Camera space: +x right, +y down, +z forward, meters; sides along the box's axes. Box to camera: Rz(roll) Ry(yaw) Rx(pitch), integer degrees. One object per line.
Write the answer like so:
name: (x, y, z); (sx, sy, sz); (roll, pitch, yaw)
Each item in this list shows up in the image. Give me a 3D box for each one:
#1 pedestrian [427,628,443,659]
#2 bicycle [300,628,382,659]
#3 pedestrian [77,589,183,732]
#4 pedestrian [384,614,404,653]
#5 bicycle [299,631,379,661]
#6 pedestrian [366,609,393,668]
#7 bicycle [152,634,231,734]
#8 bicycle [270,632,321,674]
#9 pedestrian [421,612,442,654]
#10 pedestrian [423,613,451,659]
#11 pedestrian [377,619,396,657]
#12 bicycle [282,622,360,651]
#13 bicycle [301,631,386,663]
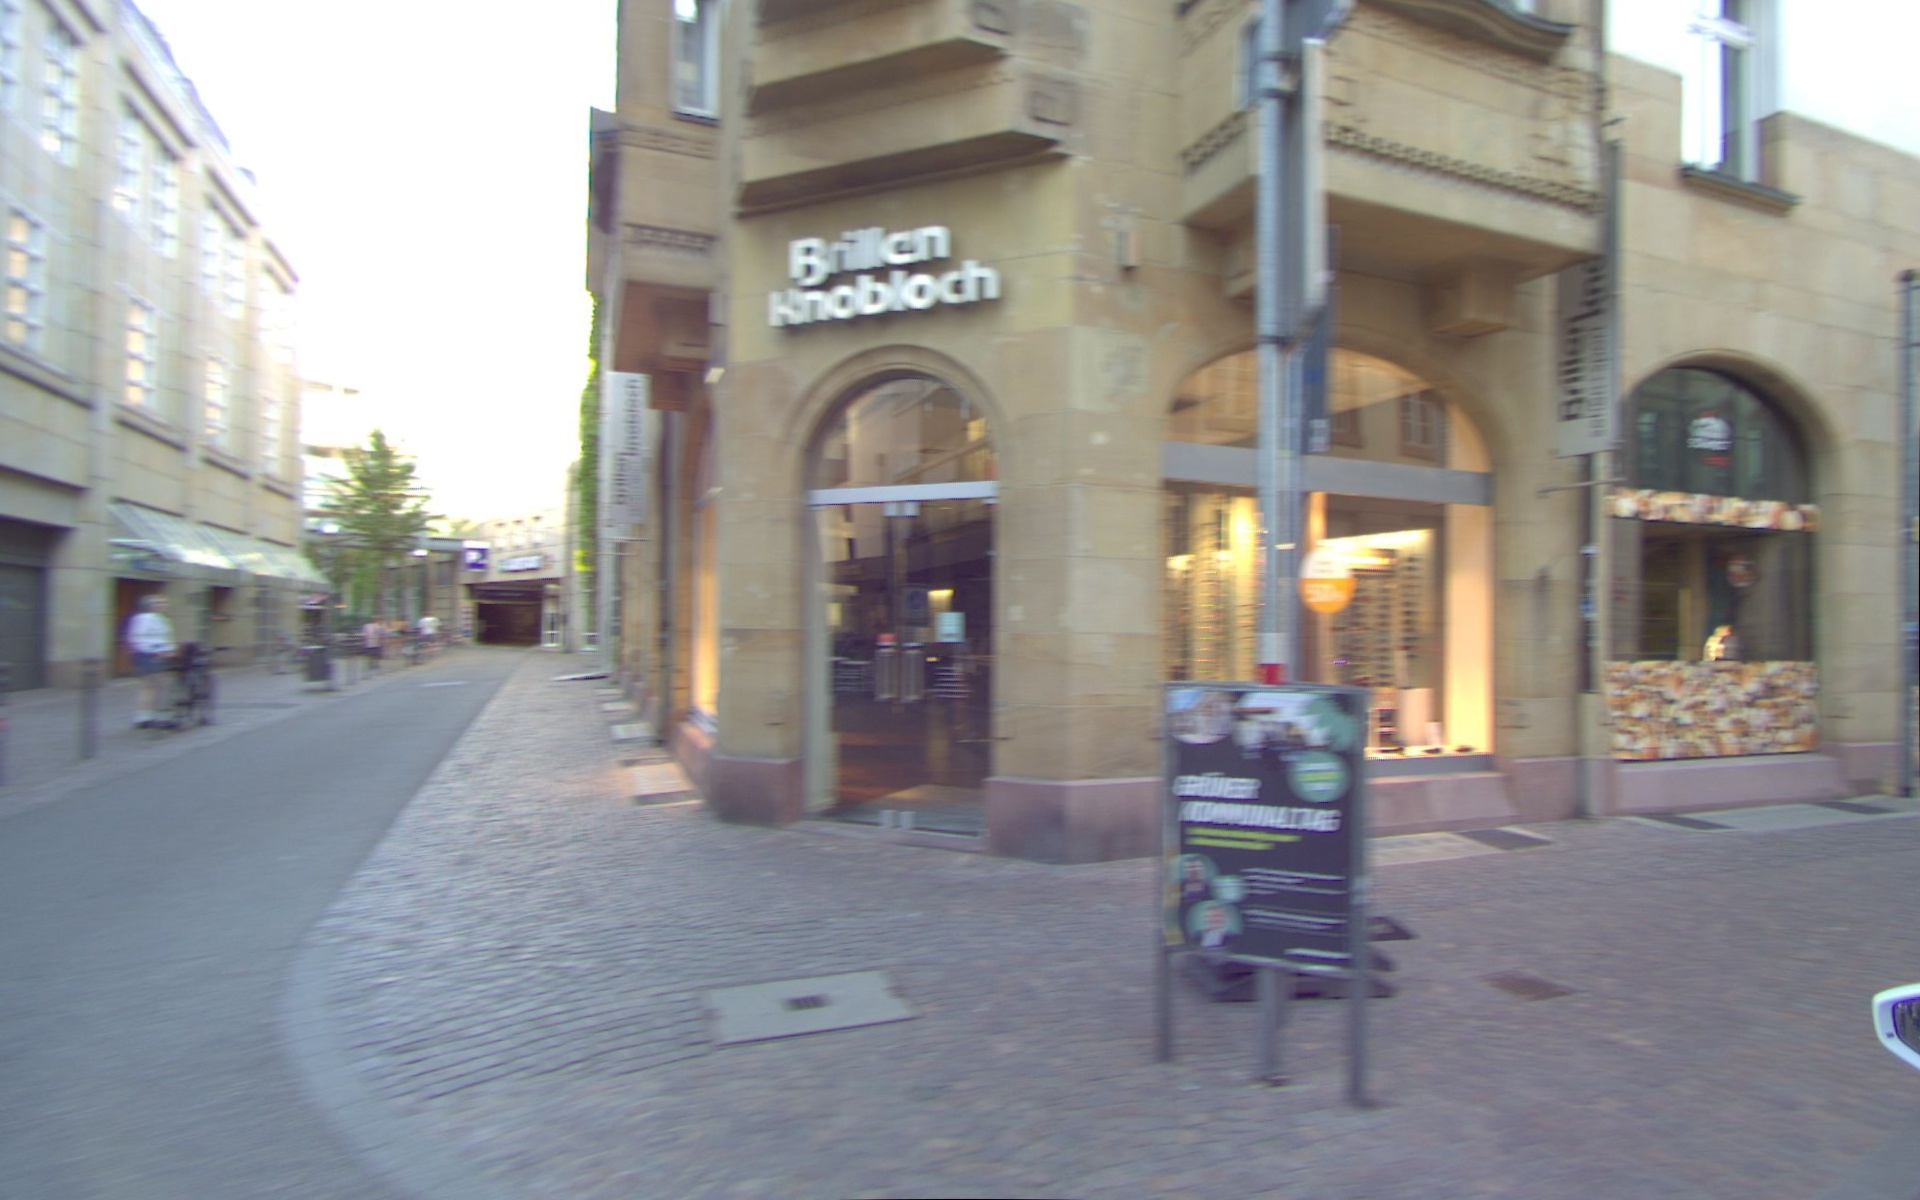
pedestrian: (-20.069, 1.669, 38.422); (0.460, 1.183, 0.519); (2, -2, -21)
bicycle: (-25.031, 1.767, 40.674); (2.745, 1.216, 0.725); (2, -2, -41)
pedestrian: (-10.878, 0.776, 13.194); (0.897, 1.814, 0.607); (1, -1, -23)
pedestrian: (-24.038, 1.418, 42.675); (0.578, 1.625, 0.624); (2, -2, -21)
bicycle: (-25.663, 1.881, 41.534); (2.745, 1.216, 0.725); (2, -2, -41)
pedestrian: (-17.842, 1.192, 30.857); (0.652, 1.787, 0.610); (1, -1, -35)
bicycle: (-10.339, 1.087, 13.568); (0.407, 1.248, 1.817); (1, -2, -24)
bicycle: (-18.471, 1.450, 27.965); (0.474, 1.095, 2.235); (1, -2, -15)
pedestrian: (-22.429, 1.408, 42.645); (0.623, 1.780, 0.795); (2, -2, -21)
pedestrian: (-20.894, 1.442, 40.153); (0.854, 1.780, 0.795); (2, -2, -21)
pedestrian: (-24.656, 1.630, 43.203); (0.583, 1.625, 0.662); (2, -2, -21)
bicycle: (-27.316, 1.558, 42.973); (2.745, 1.216, 0.725); (2, -2, -41)
bicycle: (-24.149, 1.826, 39.376); (2.745, 1.216, 0.725); (2, -2, -41)
